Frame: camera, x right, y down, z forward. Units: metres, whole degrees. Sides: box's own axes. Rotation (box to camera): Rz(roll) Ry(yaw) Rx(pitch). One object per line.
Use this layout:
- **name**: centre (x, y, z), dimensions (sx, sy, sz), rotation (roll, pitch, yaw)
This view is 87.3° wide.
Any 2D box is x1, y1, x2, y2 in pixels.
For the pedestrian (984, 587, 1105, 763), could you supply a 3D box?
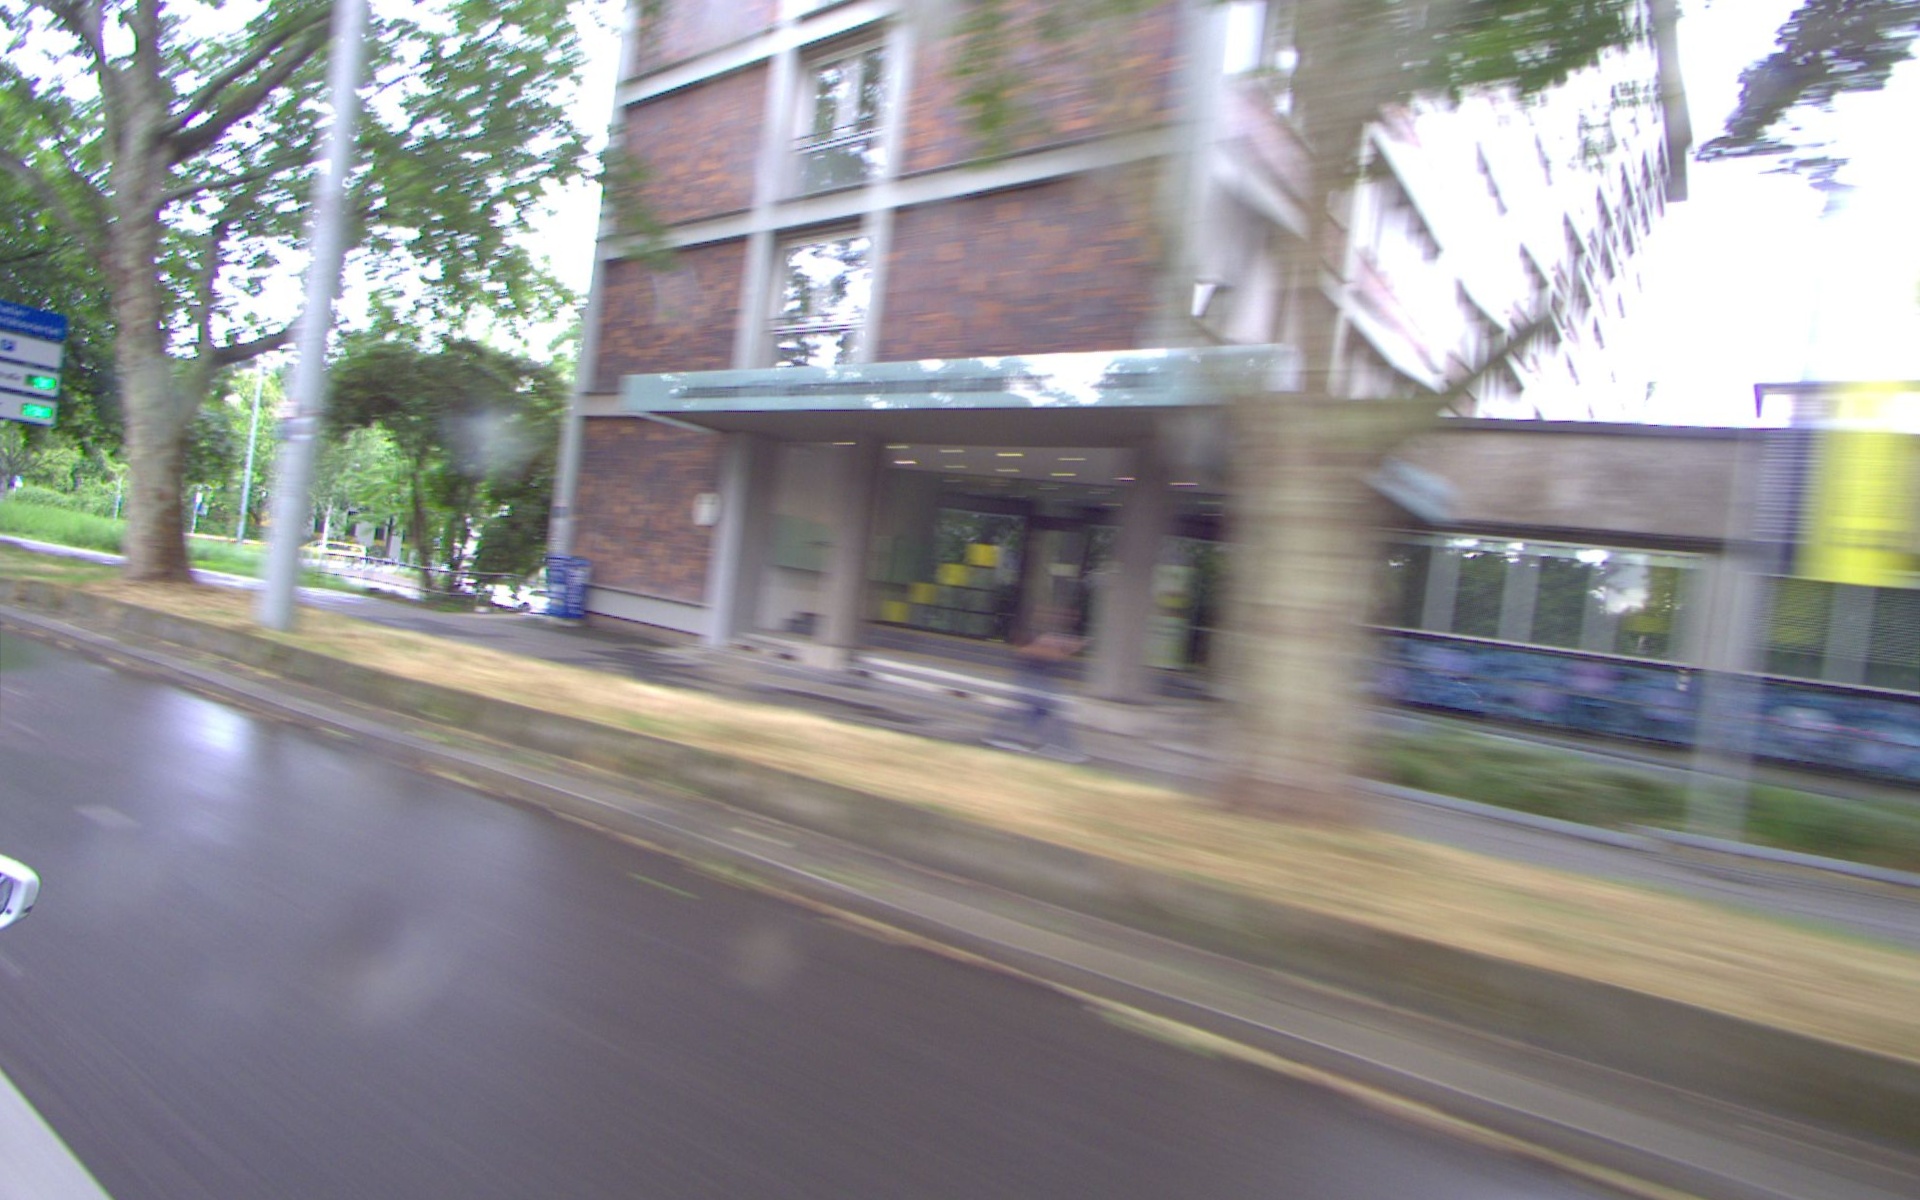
- **pedestrian**: centre (0.871, 0.762, 10.384), dimensions (0.919, 1.658, 0.521), rotation (7, 0, 32)
